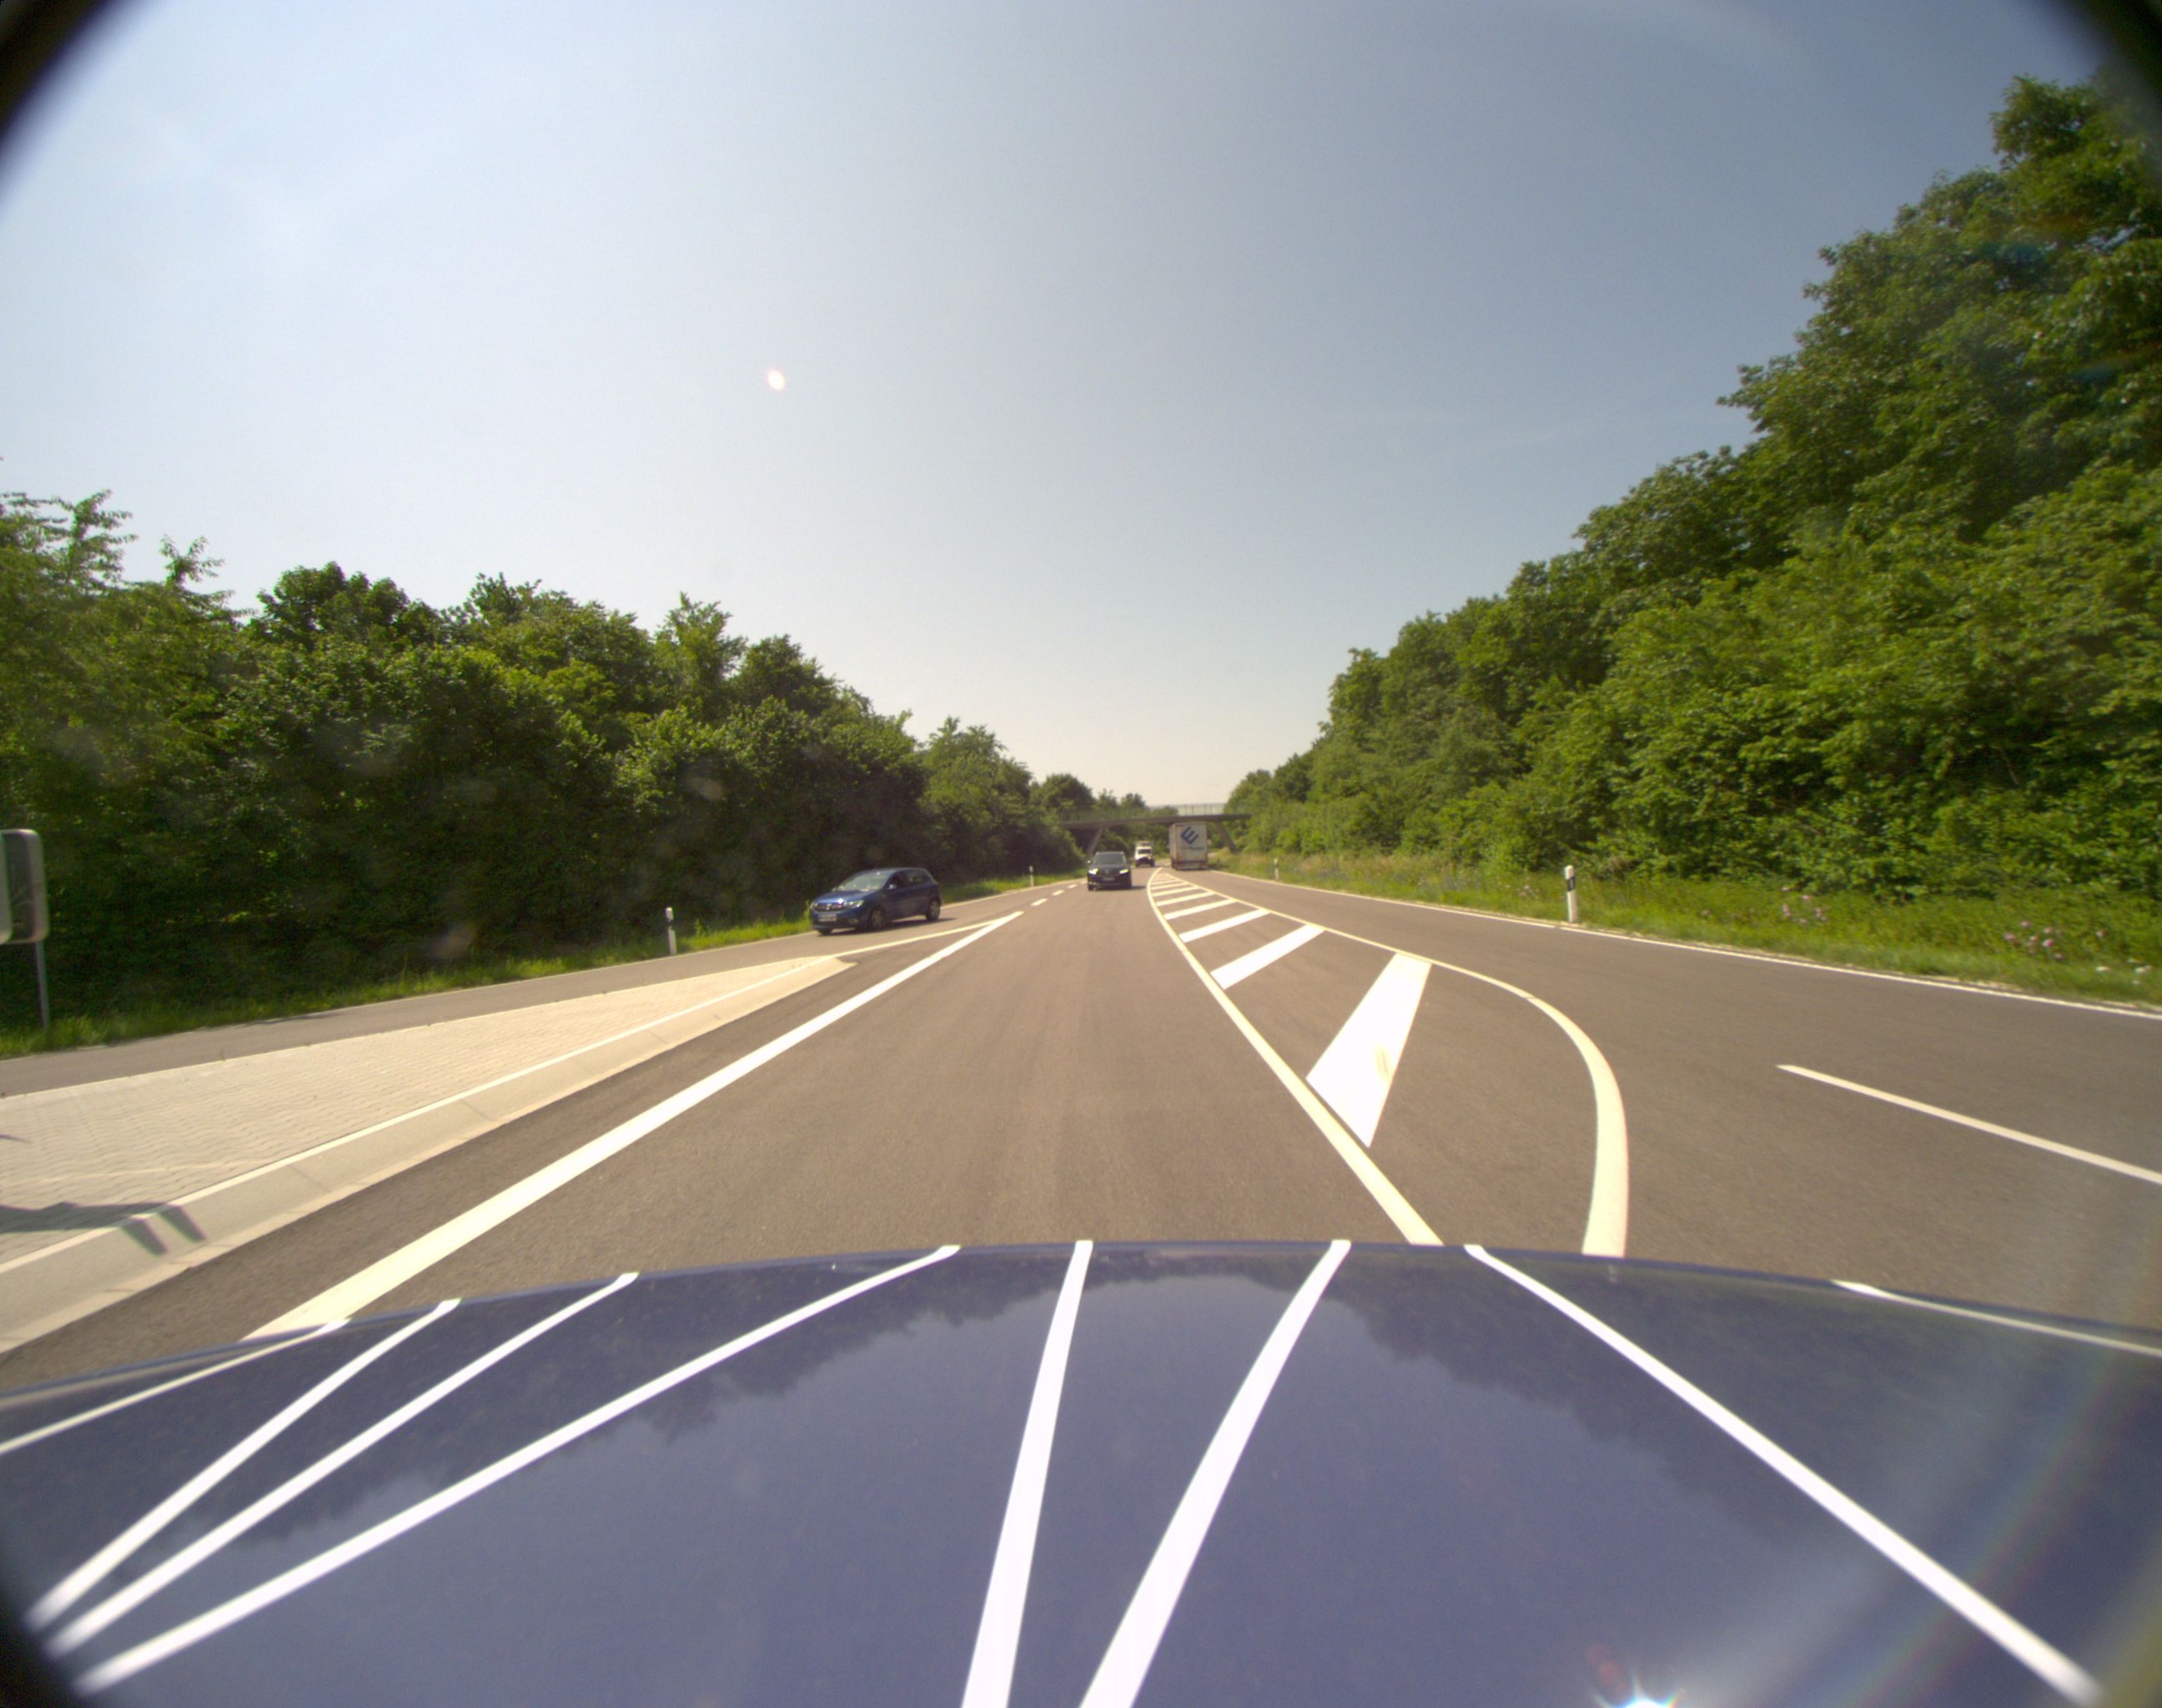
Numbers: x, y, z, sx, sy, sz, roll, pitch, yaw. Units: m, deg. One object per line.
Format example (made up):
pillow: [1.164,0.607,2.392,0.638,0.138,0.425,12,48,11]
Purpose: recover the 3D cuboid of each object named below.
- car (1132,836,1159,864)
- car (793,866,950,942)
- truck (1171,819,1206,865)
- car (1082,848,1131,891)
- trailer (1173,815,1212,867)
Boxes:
car: [7.634,-0.453,89.018,2.590,3.046,6.885,-2,1,8]
car: [-5.284,1.226,19.740,1.806,1.532,3.950,-5,0,21]
truck: [10.532,-1.119,75.180,2.804,4.072,11.067,-2,0,6]
car: [1.249,0.622,34.355,1.923,1.711,5.480,-2,1,5]
trailer: [9.606,-1.060,66.082,2.834,4.072,9.004,-2,0,6]
